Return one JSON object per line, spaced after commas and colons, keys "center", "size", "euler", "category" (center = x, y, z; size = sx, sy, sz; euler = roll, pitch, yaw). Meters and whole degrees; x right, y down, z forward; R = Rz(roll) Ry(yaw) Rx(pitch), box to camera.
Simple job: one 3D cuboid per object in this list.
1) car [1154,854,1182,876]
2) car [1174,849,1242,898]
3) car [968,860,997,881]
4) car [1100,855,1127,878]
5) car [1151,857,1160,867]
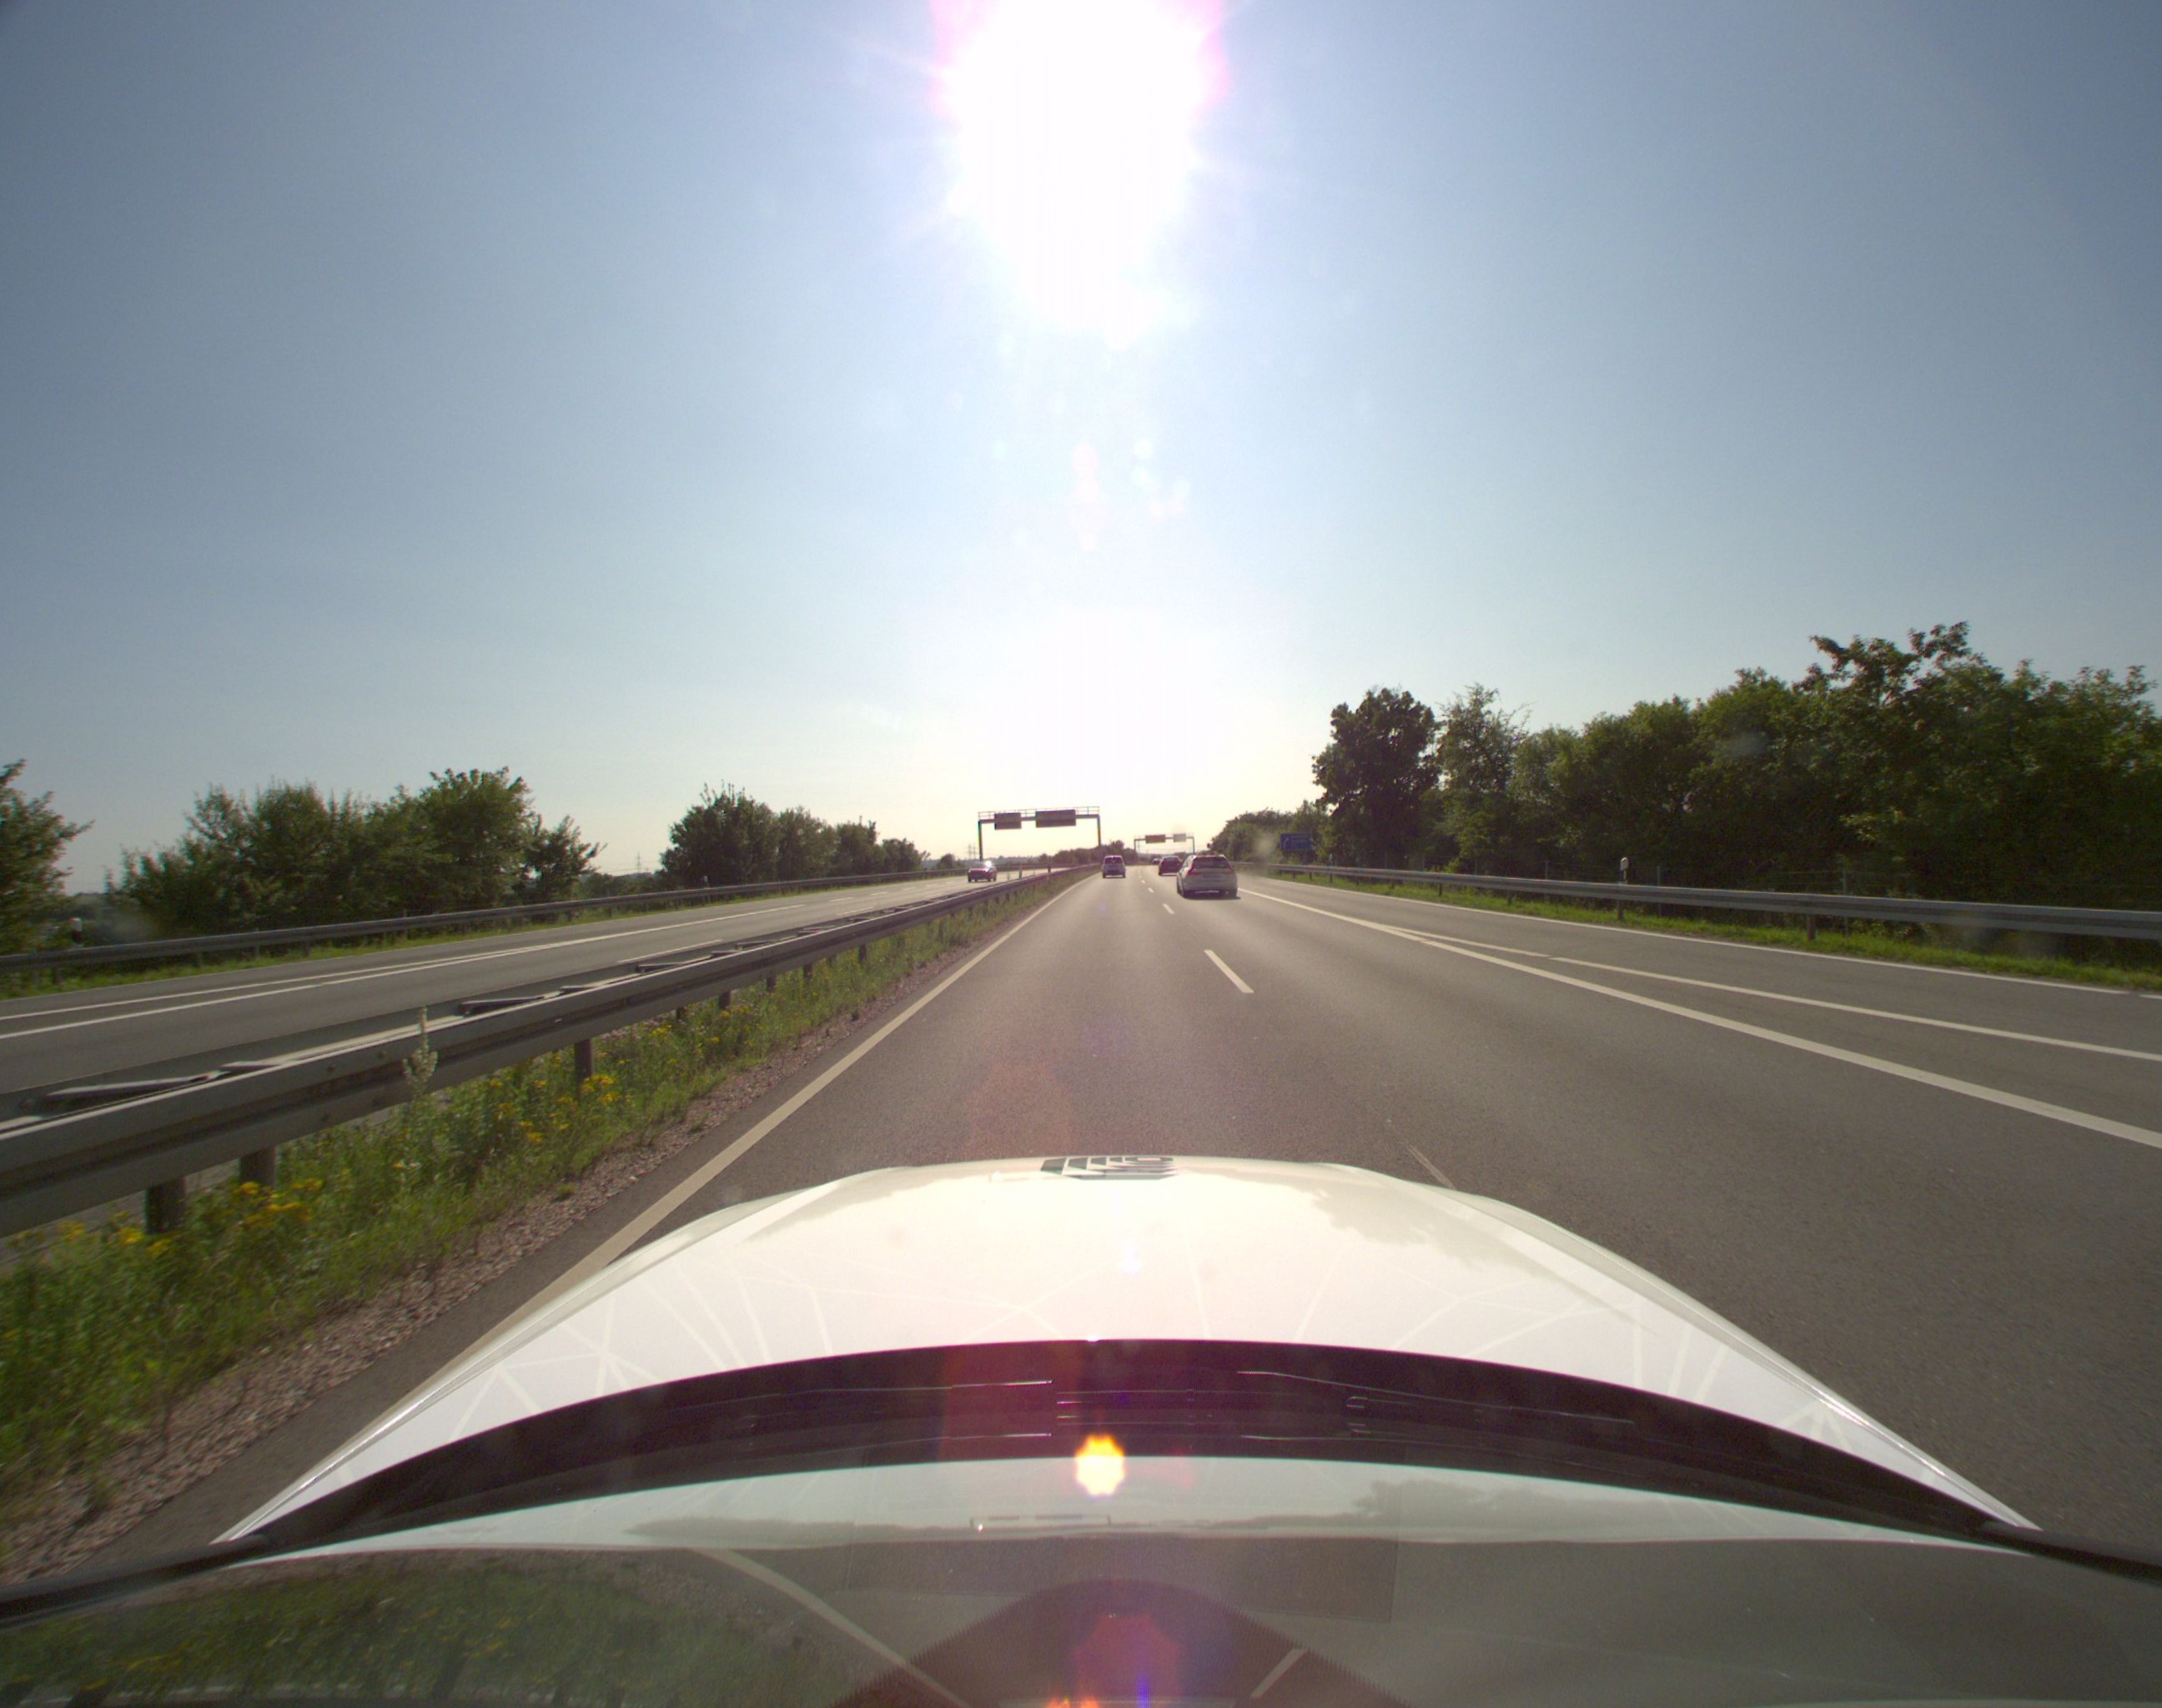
{"center": [6.437, 0.799, 60.453], "size": [1.786, 1.543, 3.673], "euler": [-1, -1, 2], "category": "car"}
{"center": [4.452, 0.648, 29.134], "size": [1.950, 1.601, 4.110], "euler": [-1, 0, 3], "category": "car"}
{"center": [-7.569, 1.261, 62.843], "size": [1.636, 1.575, 4.266], "euler": [-1, 0, 2], "category": "car"}
{"center": [2.319, 0.937, 58.309], "size": [1.786, 1.503, 4.044], "euler": [-3, -2, 2], "category": "car"}
{"center": [16.087, 1.703, 176.392], "size": [1.984, 2.014, 4.005], "euler": [-1, 0, 4], "category": "car"}
